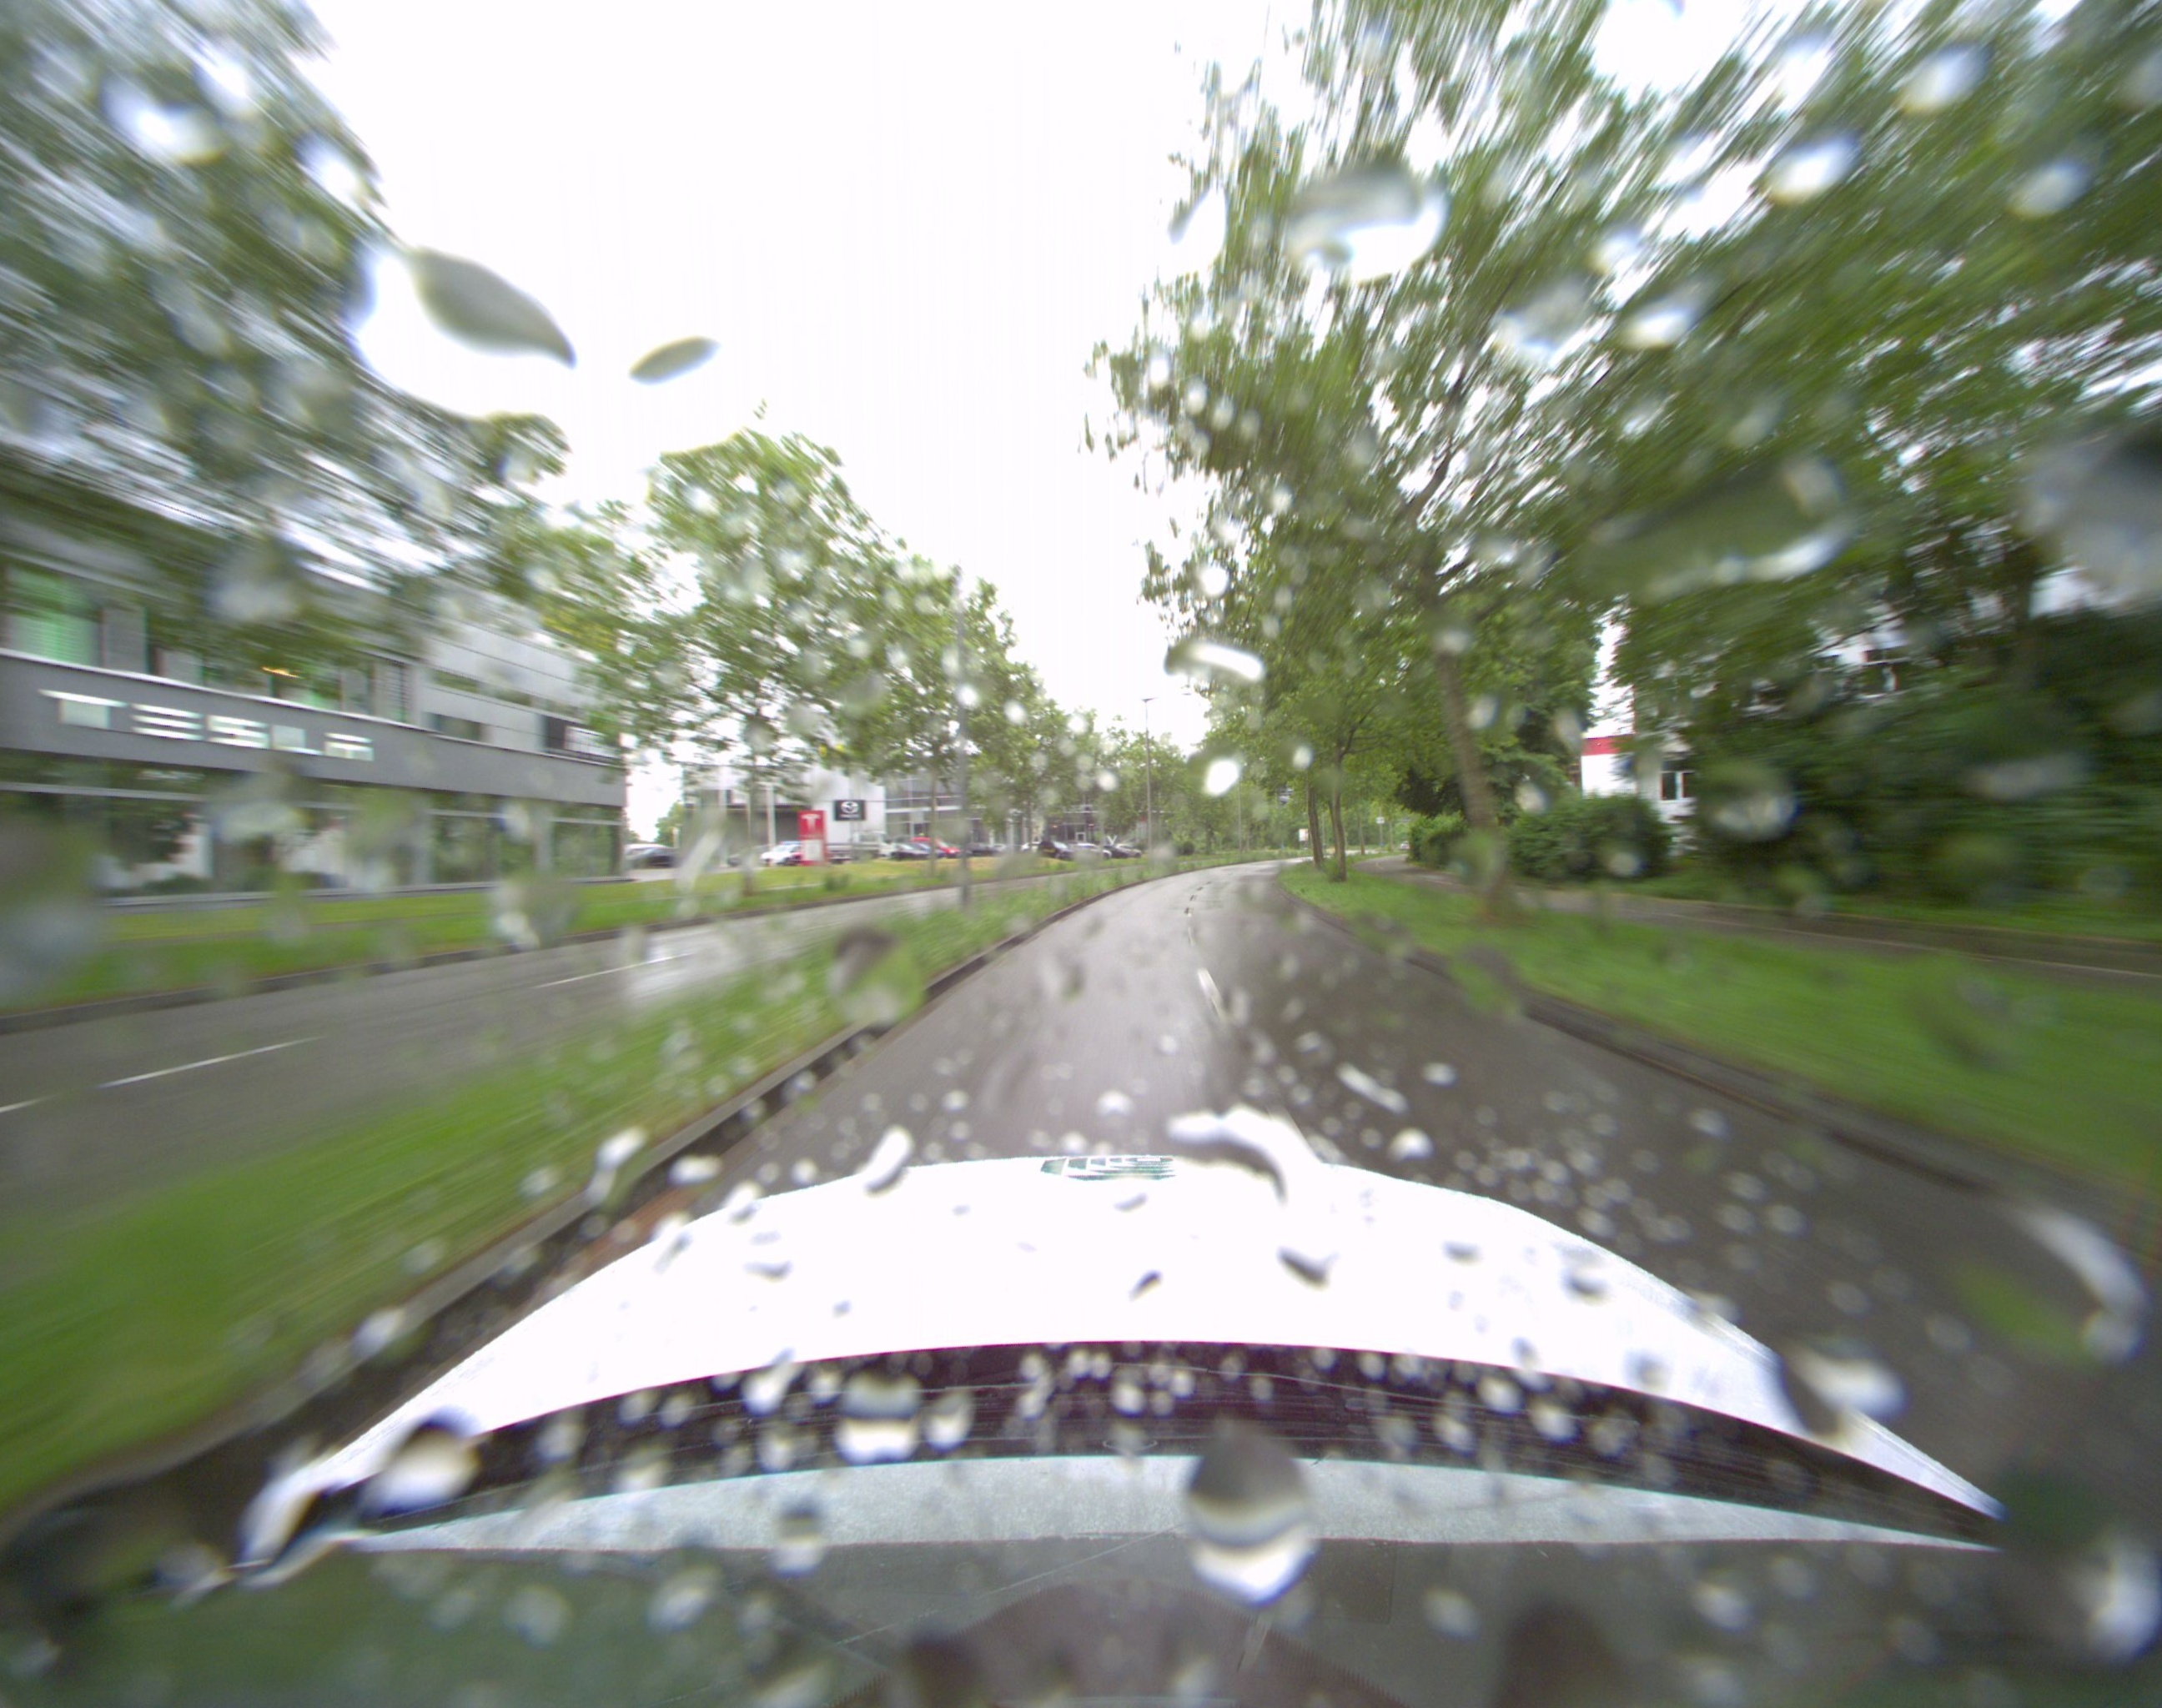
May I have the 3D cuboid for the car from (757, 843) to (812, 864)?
[{"bbox_3d":[-20.870,-0.061,57.498,1.751,1.396,4.170,0,2,11],"label":"car"}]

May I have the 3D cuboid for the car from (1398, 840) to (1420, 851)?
[{"bbox_3d":[48.757,-1.244,121.035,1.763,1.555,4.025,1,2,42],"label":"car"}]

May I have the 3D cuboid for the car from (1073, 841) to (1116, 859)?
[{"bbox_3d":[1.418,-0.464,85.690,4.133,1.478,1.835,4,4,-23],"label":"car"}]

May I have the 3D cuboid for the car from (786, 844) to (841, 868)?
[{"bbox_3d":[-18.390,0.098,56.138,1.751,1.467,4.170,0,2,11],"label":"car"}]

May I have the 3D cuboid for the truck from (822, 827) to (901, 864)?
[{"bbox_3d":[-14.935,-0.640,55.929,2.229,2.344,6.224,2,2,18],"label":"truck"}]

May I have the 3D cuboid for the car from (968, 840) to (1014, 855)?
[{"bbox_3d":[-9.438,-0.636,85.292,4.397,1.473,1.924,-1,0,7],"label":"car"}]

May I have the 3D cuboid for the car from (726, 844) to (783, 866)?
[{"bbox_3d":[-23.174,0.051,57.923,1.751,1.396,4.170,0,2,11],"label":"car"}]

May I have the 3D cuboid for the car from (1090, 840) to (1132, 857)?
[{"bbox_3d":[3.299,-0.565,89.263,4.128,1.422,1.837,4,4,-19],"label":"car"}]

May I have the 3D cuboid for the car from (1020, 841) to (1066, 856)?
[{"bbox_3d":[-3.963,-0.590,84.502,4.390,1.473,1.927,-1,0,14],"label":"car"}]

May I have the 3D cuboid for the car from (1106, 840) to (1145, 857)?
[{"bbox_3d":[5.116,-0.644,93.197,4.009,1.475,1.770,4,4,-28],"label":"car"}]

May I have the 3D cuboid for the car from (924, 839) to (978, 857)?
[{"bbox_3d":[-10.808,-0.499,67.764,3.965,1.357,1.856,2,2,16],"label":"car"}]

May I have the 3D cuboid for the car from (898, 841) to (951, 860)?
[{"bbox_3d":[-11.952,-0.291,62.303,3.496,1.326,1.776,2,2,16],"label":"car"}]

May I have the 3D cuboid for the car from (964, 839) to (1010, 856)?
[{"bbox_3d":[-8.573,-0.593,74.610,3.984,1.357,1.847,1,2,-2],"label":"car"}]

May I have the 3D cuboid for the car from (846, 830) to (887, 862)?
[{"bbox_3d":[-19.472,-0.760,73.773,2.178,2.752,5.286,0,1,-31],"label":"car"}]

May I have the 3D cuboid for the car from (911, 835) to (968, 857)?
[{"bbox_3d":[-11.270,-0.640,64.946,3.965,1.556,1.856,2,2,16],"label":"car"}]

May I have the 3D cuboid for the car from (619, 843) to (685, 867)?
[{"bbox_3d":[-33.685,0.061,64.036,1.745,1.728,4.184,1,2,35],"label":"car"}]

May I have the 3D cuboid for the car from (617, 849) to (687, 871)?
[{"bbox_3d":[-30.984,0.412,58.894,1.746,1.396,4.182,1,3,44],"label":"car"}]

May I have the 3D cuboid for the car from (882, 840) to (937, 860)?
[{"bbox_3d":[-12.618,-0.313,60.095,3.496,1.326,1.776,2,2,16],"label":"car"}]

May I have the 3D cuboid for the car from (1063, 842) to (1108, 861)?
[{"bbox_3d":[0.467,-0.229,82.887,4.123,1.478,1.839,5,4,-15],"label":"car"}]

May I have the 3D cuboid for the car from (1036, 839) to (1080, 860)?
[{"bbox_3d":[-2.301,-0.478,79.456,1.856,1.556,4.388,3,5,-39],"label":"car"}]

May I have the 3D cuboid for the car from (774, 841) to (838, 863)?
[{"bbox_3d":[-22.660,-0.166,67.101,4.673,1.764,1.801,0,1,-35],"label":"car"}]
